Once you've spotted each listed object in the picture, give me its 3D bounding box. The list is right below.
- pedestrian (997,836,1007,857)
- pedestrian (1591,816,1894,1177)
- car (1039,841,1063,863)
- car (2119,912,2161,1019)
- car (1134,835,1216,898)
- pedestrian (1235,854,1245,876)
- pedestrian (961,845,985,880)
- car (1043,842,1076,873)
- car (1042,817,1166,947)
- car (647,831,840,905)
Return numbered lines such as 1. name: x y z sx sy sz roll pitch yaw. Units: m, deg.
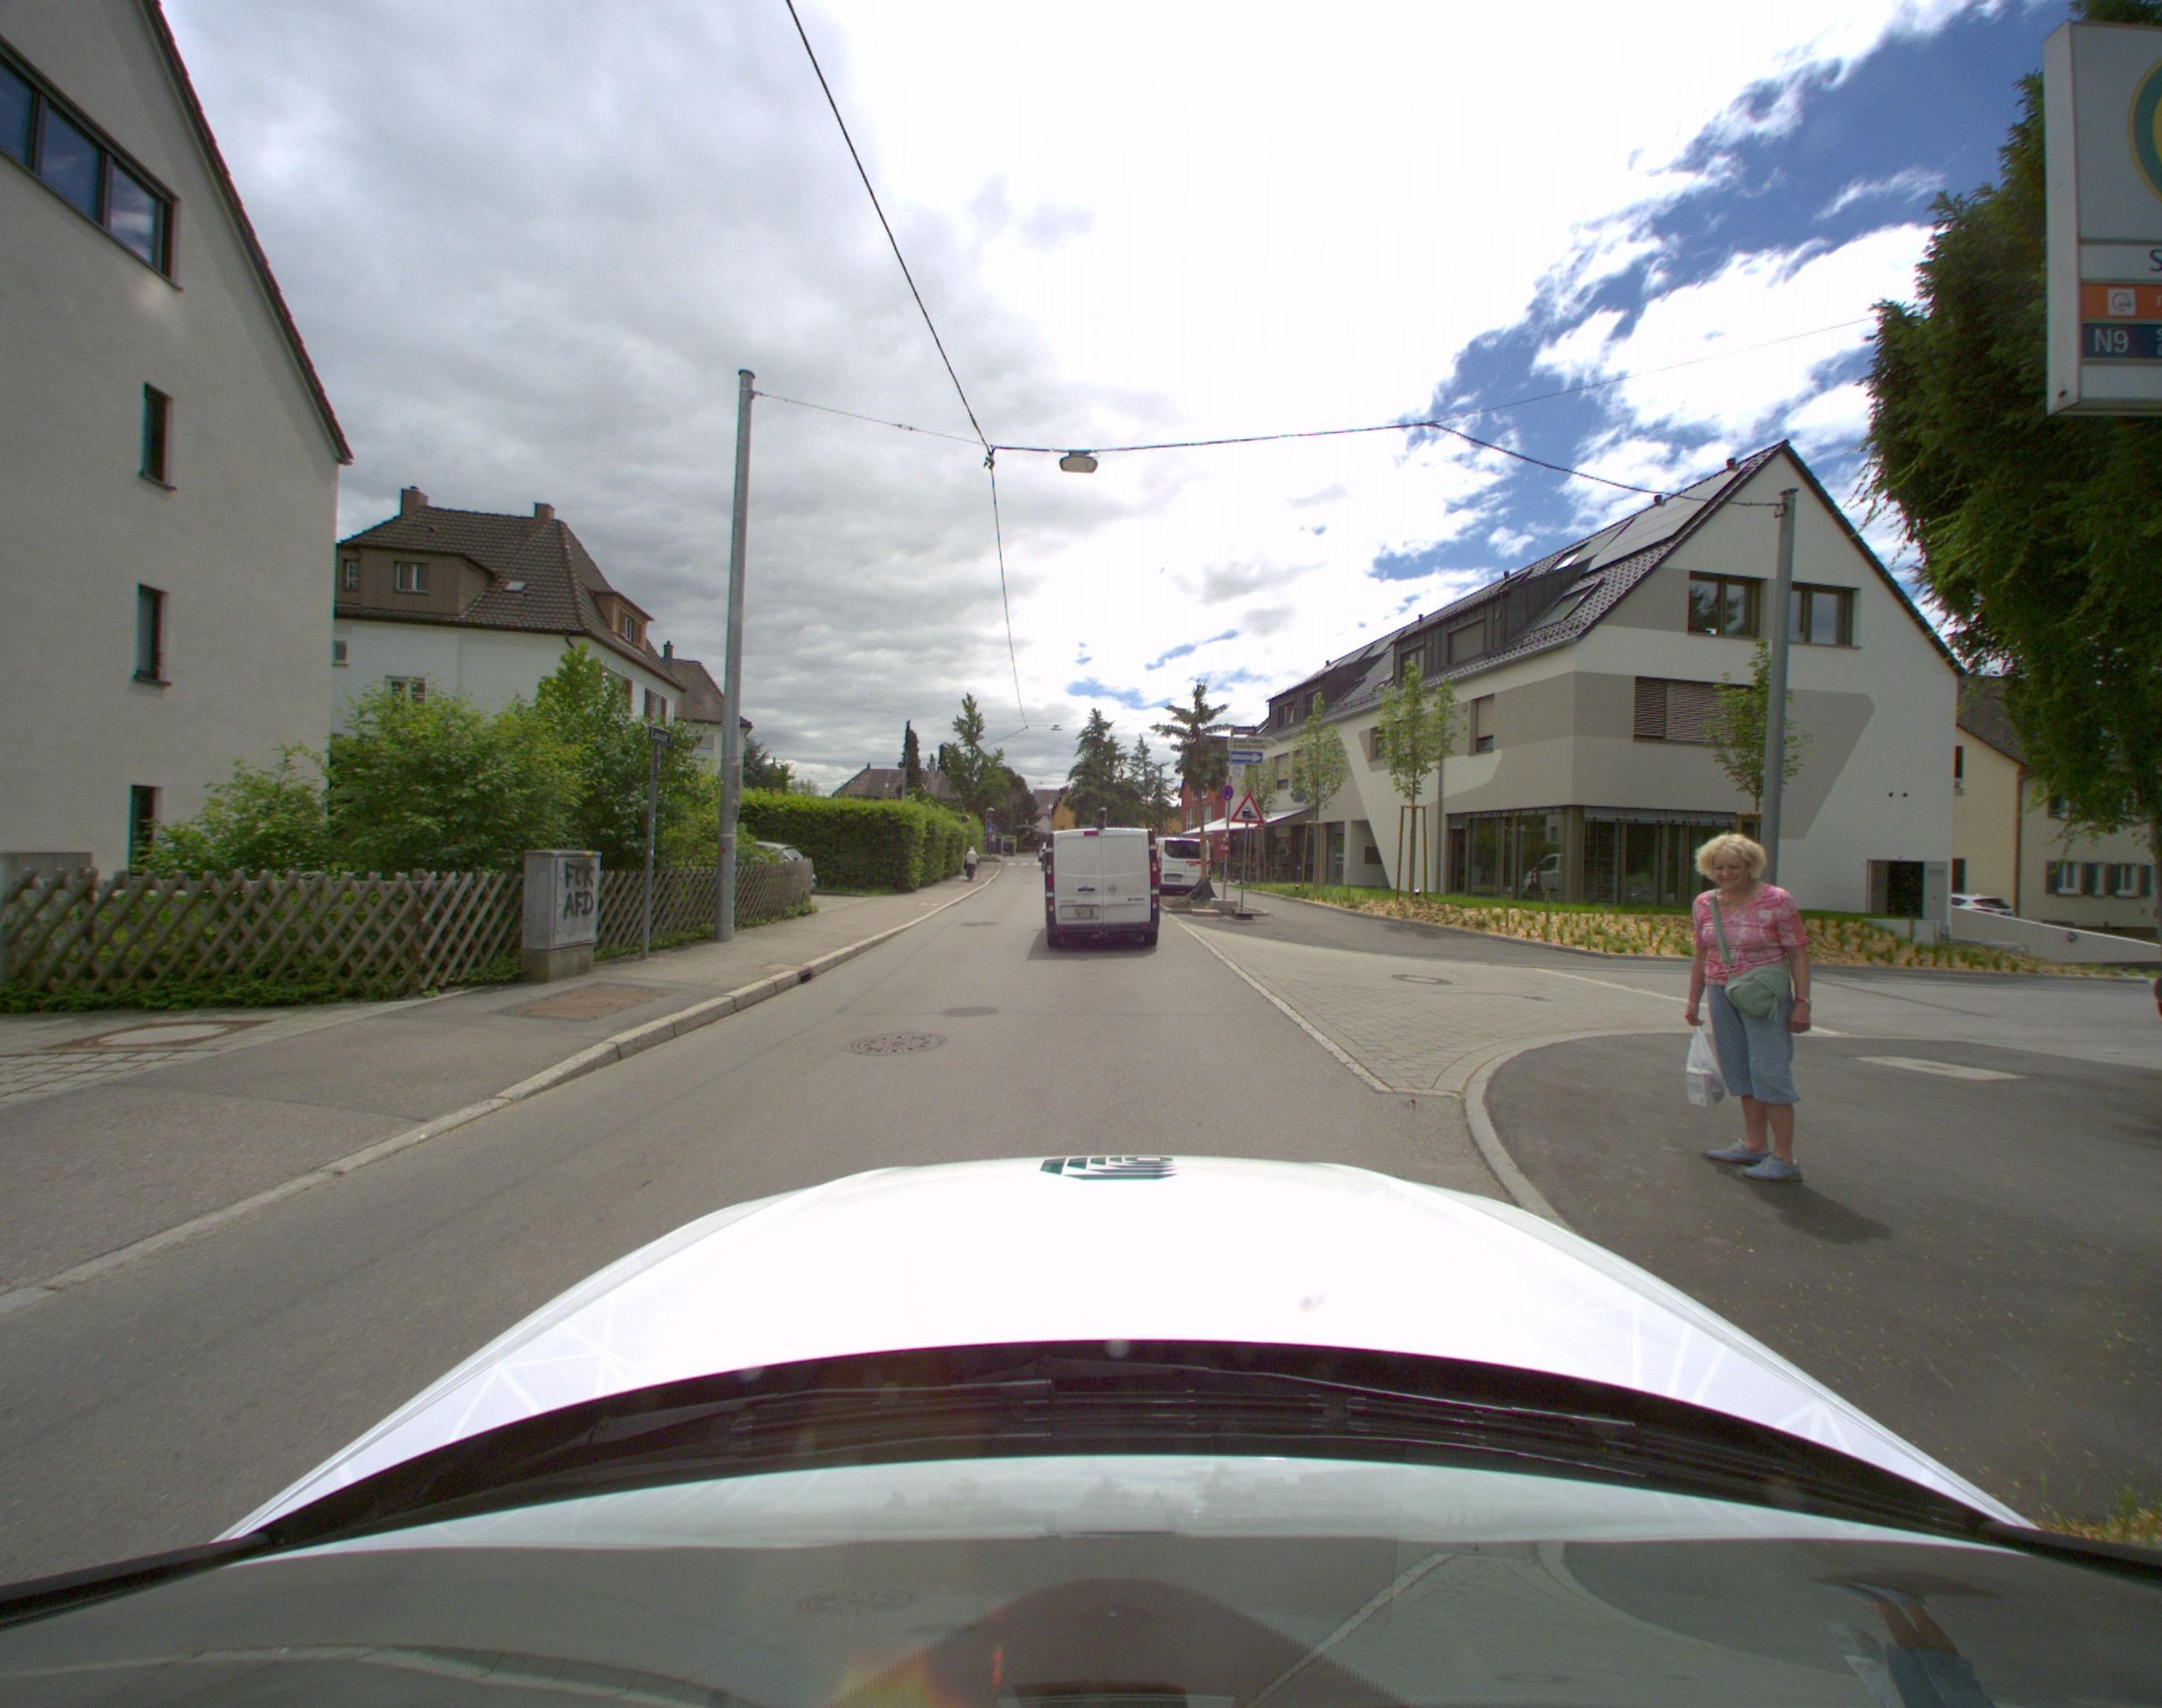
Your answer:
1. pedestrian: -7.560 -0.699 77.924 0.833 2.014 0.677 4 -1 -13
2. pedestrian: 3.335 0.660 4.205 0.877 1.645 0.857 1 -1 3
3. car: -2.647 -0.167 70.889 1.989 1.782 3.996 0 0 -3
4. car: 16.942 1.688 11.323 3.524 1.458 1.708 4 -1 -12
5. car: 3.187 0.404 28.721 1.954 1.916 4.895 3 0 -4
6. pedestrian: 8.518 0.587 43.537 0.420 1.182 0.323 1 -1 -5
7. pedestrian: -4.804 0.381 36.125 0.879 1.485 0.452 4 -1 -23
8. car: -1.393 0.234 51.092 1.989 1.848 3.996 1 0 -3
9. car: 0.286 0.468 14.876 1.911 2.003 4.433 1 -1 -2
10. car: -7.798 0.320 19.076 3.660 1.434 1.817 4 -1 -1
